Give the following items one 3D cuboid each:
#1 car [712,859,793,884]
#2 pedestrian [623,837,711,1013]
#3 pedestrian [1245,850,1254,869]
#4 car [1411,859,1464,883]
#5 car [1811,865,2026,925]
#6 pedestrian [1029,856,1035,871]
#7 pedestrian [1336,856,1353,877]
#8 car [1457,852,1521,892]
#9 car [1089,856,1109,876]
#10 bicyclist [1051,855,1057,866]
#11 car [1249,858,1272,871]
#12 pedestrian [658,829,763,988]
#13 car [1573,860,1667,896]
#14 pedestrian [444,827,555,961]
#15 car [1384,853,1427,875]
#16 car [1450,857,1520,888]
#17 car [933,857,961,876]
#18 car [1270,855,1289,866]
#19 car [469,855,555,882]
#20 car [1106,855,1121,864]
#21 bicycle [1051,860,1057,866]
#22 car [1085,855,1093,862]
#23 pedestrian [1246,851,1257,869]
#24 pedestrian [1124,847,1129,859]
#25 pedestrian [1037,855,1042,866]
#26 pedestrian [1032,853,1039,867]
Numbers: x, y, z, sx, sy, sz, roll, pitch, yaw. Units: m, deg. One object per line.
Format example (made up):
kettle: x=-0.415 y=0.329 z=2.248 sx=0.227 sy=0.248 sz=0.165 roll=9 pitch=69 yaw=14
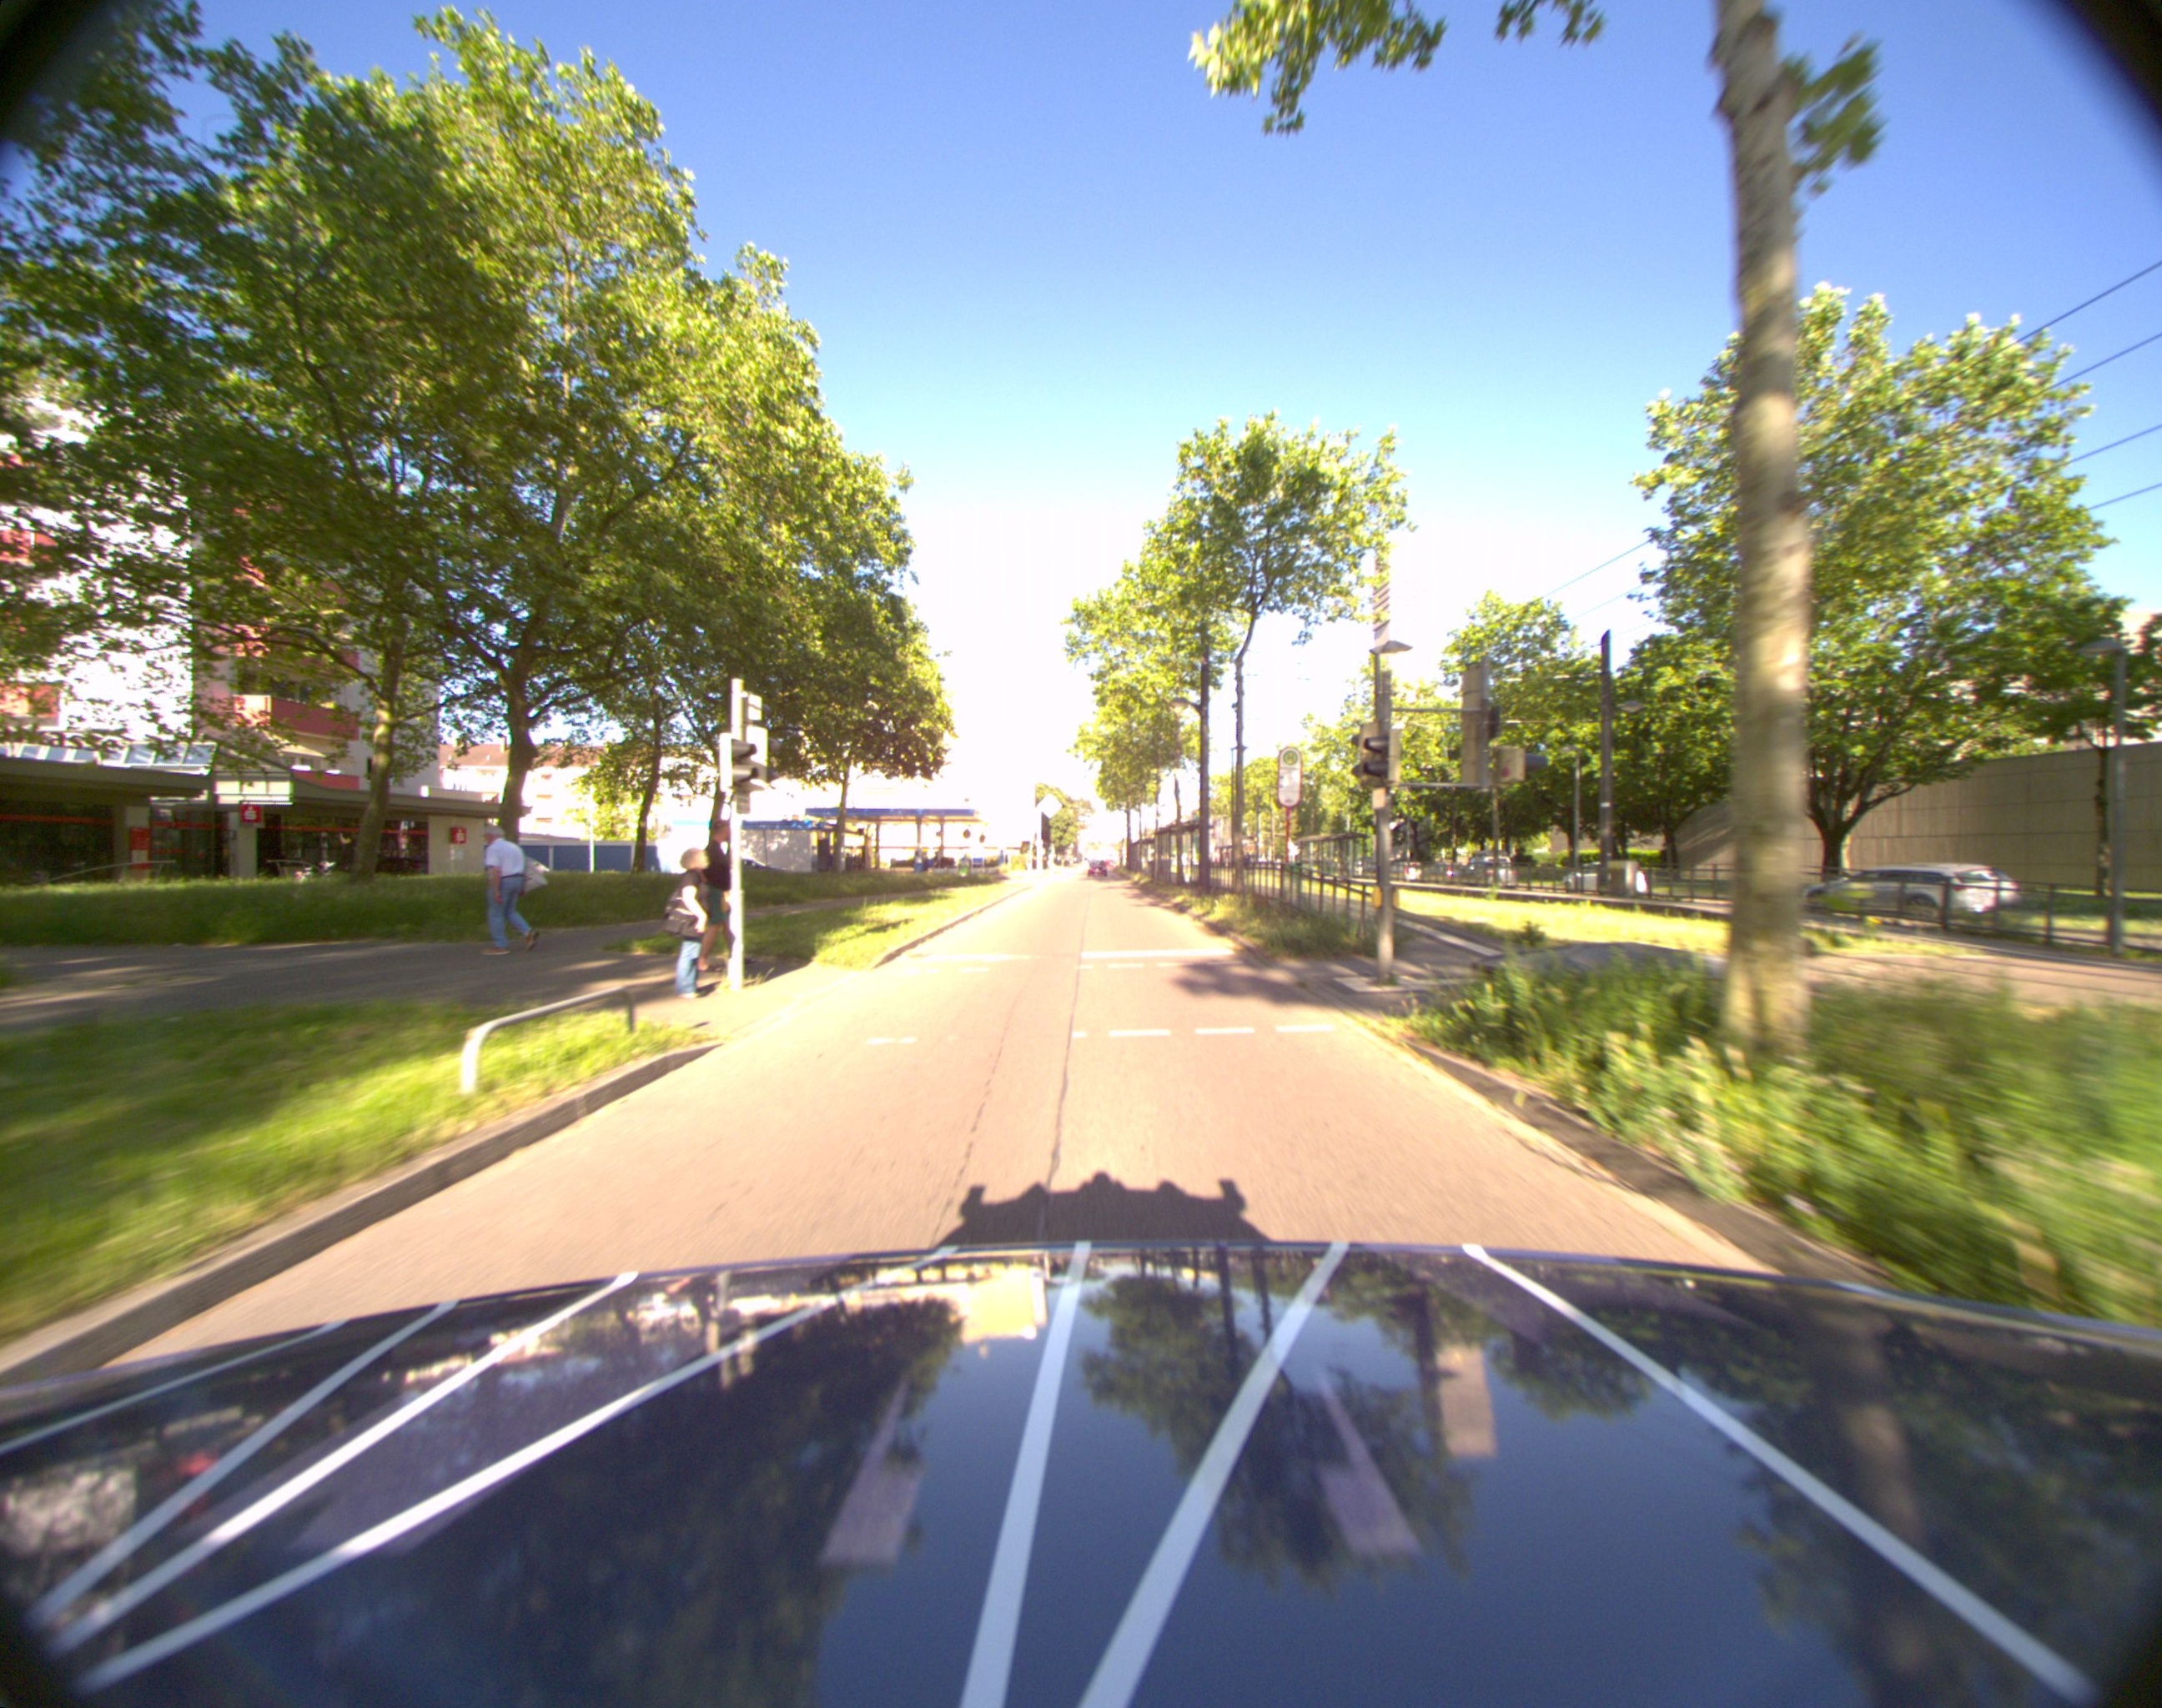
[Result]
car: x=-20.692 y=1.074 z=47.997 sx=4.201 sy=1.522 sz=1.983 roll=0 pitch=0 yaw=0
pedestrian: x=-4.251 y=0.690 z=7.794 sx=0.714 sy=1.696 sz=0.652 roll=1 pitch=1 yaw=-33
pedestrian: x=16.100 y=0.528 z=72.655 sx=0.722 sy=1.856 sz=0.637 roll=0 pitch=0 yaw=2
car: x=23.563 y=1.098 z=50.355 sx=1.598 sy=1.480 sz=4.020 roll=0 pitch=0 yaw=0
car: x=24.056 y=1.105 z=22.101 sx=1.718 sy=1.537 sz=4.201 roll=0 pitch=0 yaw=2
pedestrian: x=-5.296 y=1.015 z=81.832 sx=0.605 sy=1.691 sz=0.552 roll=0 pitch=0 yaw=5
pedestrian: x=15.908 y=0.757 z=45.911 sx=0.838 sy=1.253 sz=0.801 roll=-1 pitch=0 yaw=30
car: x=24.212 y=1.029 z=45.239 sx=1.718 sy=2.249 sz=3.933 roll=0 pitch=0 yaw=1
car: x=1.539 y=0.973 z=63.579 sx=1.619 sy=1.536 sz=4.278 roll=0 pitch=0 yaw=2
bicyclist: x=-3.680 y=0.825 z=103.178 sx=0.678 sy=1.466 sz=0.936 roll=0 pitch=1 yaw=1
car: x=19.594 y=1.148 z=83.131 sx=1.609 sy=1.419 sz=3.536 roll=0 pitch=0 yaw=-1
pedestrian: x=-4.589 y=0.648 z=9.463 sx=0.799 sy=1.874 sz=0.928 roll=0 pitch=0 yaw=5
car: x=24.745 y=1.054 z=35.059 sx=1.717 sy=1.537 sz=3.934 roll=0 pitch=0 yaw=4
pedestrian: x=-7.731 y=0.510 z=10.138 sx=0.844 sy=1.712 sz=0.830 roll=0 pitch=0 yaw=-2
car: x=24.399 y=0.746 z=57.318 sx=1.598 sy=1.626 sz=3.930 roll=0 pitch=0 yaw=1
car: x=20.927 y=0.923 z=39.495 sx=1.718 sy=1.537 sz=3.934 roll=0 pitch=0 yaw=3
car: x=-11.081 y=1.033 z=63.013 sx=1.725 sy=1.454 sz=4.004 roll=0 pitch=0 yaw=-2
car: x=22.685 y=0.777 z=86.831 sx=1.266 sy=1.234 sz=3.376 roll=0 pitch=0 yaw=0
car: x=-32.850 y=0.809 z=43.988 sx=1.874 sy=1.495 sz=4.114 roll=0 pitch=0 yaw=0
car: x=5.927 y=0.963 z=137.886 sx=1.545 sy=1.522 sz=3.597 roll=-2 pitch=1 yaw=-19
bicycle: x=-3.685 y=1.216 z=103.110 sx=0.684 sy=0.925 sz=1.736 roll=0 pitch=0 yaw=0
car: x=2.001 y=1.095 z=194.327 sx=1.998 sy=1.806 sz=4.000 roll=-1 pitch=0 yaw=1
pedestrian: x=16.169 y=0.526 z=71.877 sx=0.885 sy=1.680 sz=0.754 roll=0 pitch=0 yaw=2
pedestrian: x=5.840 y=-0.118 z=97.620 sx=0.660 sy=1.520 sz=0.538 roll=0 pitch=1 yaw=-6
pedestrian: x=-5.673 y=0.849 z=104.335 sx=0.505 sy=1.537 sz=0.518 roll=1 pitch=1 yaw=-16
pedestrian: x=-6.242 y=0.855 z=104.056 sx=0.790 sy=1.817 sz=1.032 roll=1 pitch=1 yaw=-16
